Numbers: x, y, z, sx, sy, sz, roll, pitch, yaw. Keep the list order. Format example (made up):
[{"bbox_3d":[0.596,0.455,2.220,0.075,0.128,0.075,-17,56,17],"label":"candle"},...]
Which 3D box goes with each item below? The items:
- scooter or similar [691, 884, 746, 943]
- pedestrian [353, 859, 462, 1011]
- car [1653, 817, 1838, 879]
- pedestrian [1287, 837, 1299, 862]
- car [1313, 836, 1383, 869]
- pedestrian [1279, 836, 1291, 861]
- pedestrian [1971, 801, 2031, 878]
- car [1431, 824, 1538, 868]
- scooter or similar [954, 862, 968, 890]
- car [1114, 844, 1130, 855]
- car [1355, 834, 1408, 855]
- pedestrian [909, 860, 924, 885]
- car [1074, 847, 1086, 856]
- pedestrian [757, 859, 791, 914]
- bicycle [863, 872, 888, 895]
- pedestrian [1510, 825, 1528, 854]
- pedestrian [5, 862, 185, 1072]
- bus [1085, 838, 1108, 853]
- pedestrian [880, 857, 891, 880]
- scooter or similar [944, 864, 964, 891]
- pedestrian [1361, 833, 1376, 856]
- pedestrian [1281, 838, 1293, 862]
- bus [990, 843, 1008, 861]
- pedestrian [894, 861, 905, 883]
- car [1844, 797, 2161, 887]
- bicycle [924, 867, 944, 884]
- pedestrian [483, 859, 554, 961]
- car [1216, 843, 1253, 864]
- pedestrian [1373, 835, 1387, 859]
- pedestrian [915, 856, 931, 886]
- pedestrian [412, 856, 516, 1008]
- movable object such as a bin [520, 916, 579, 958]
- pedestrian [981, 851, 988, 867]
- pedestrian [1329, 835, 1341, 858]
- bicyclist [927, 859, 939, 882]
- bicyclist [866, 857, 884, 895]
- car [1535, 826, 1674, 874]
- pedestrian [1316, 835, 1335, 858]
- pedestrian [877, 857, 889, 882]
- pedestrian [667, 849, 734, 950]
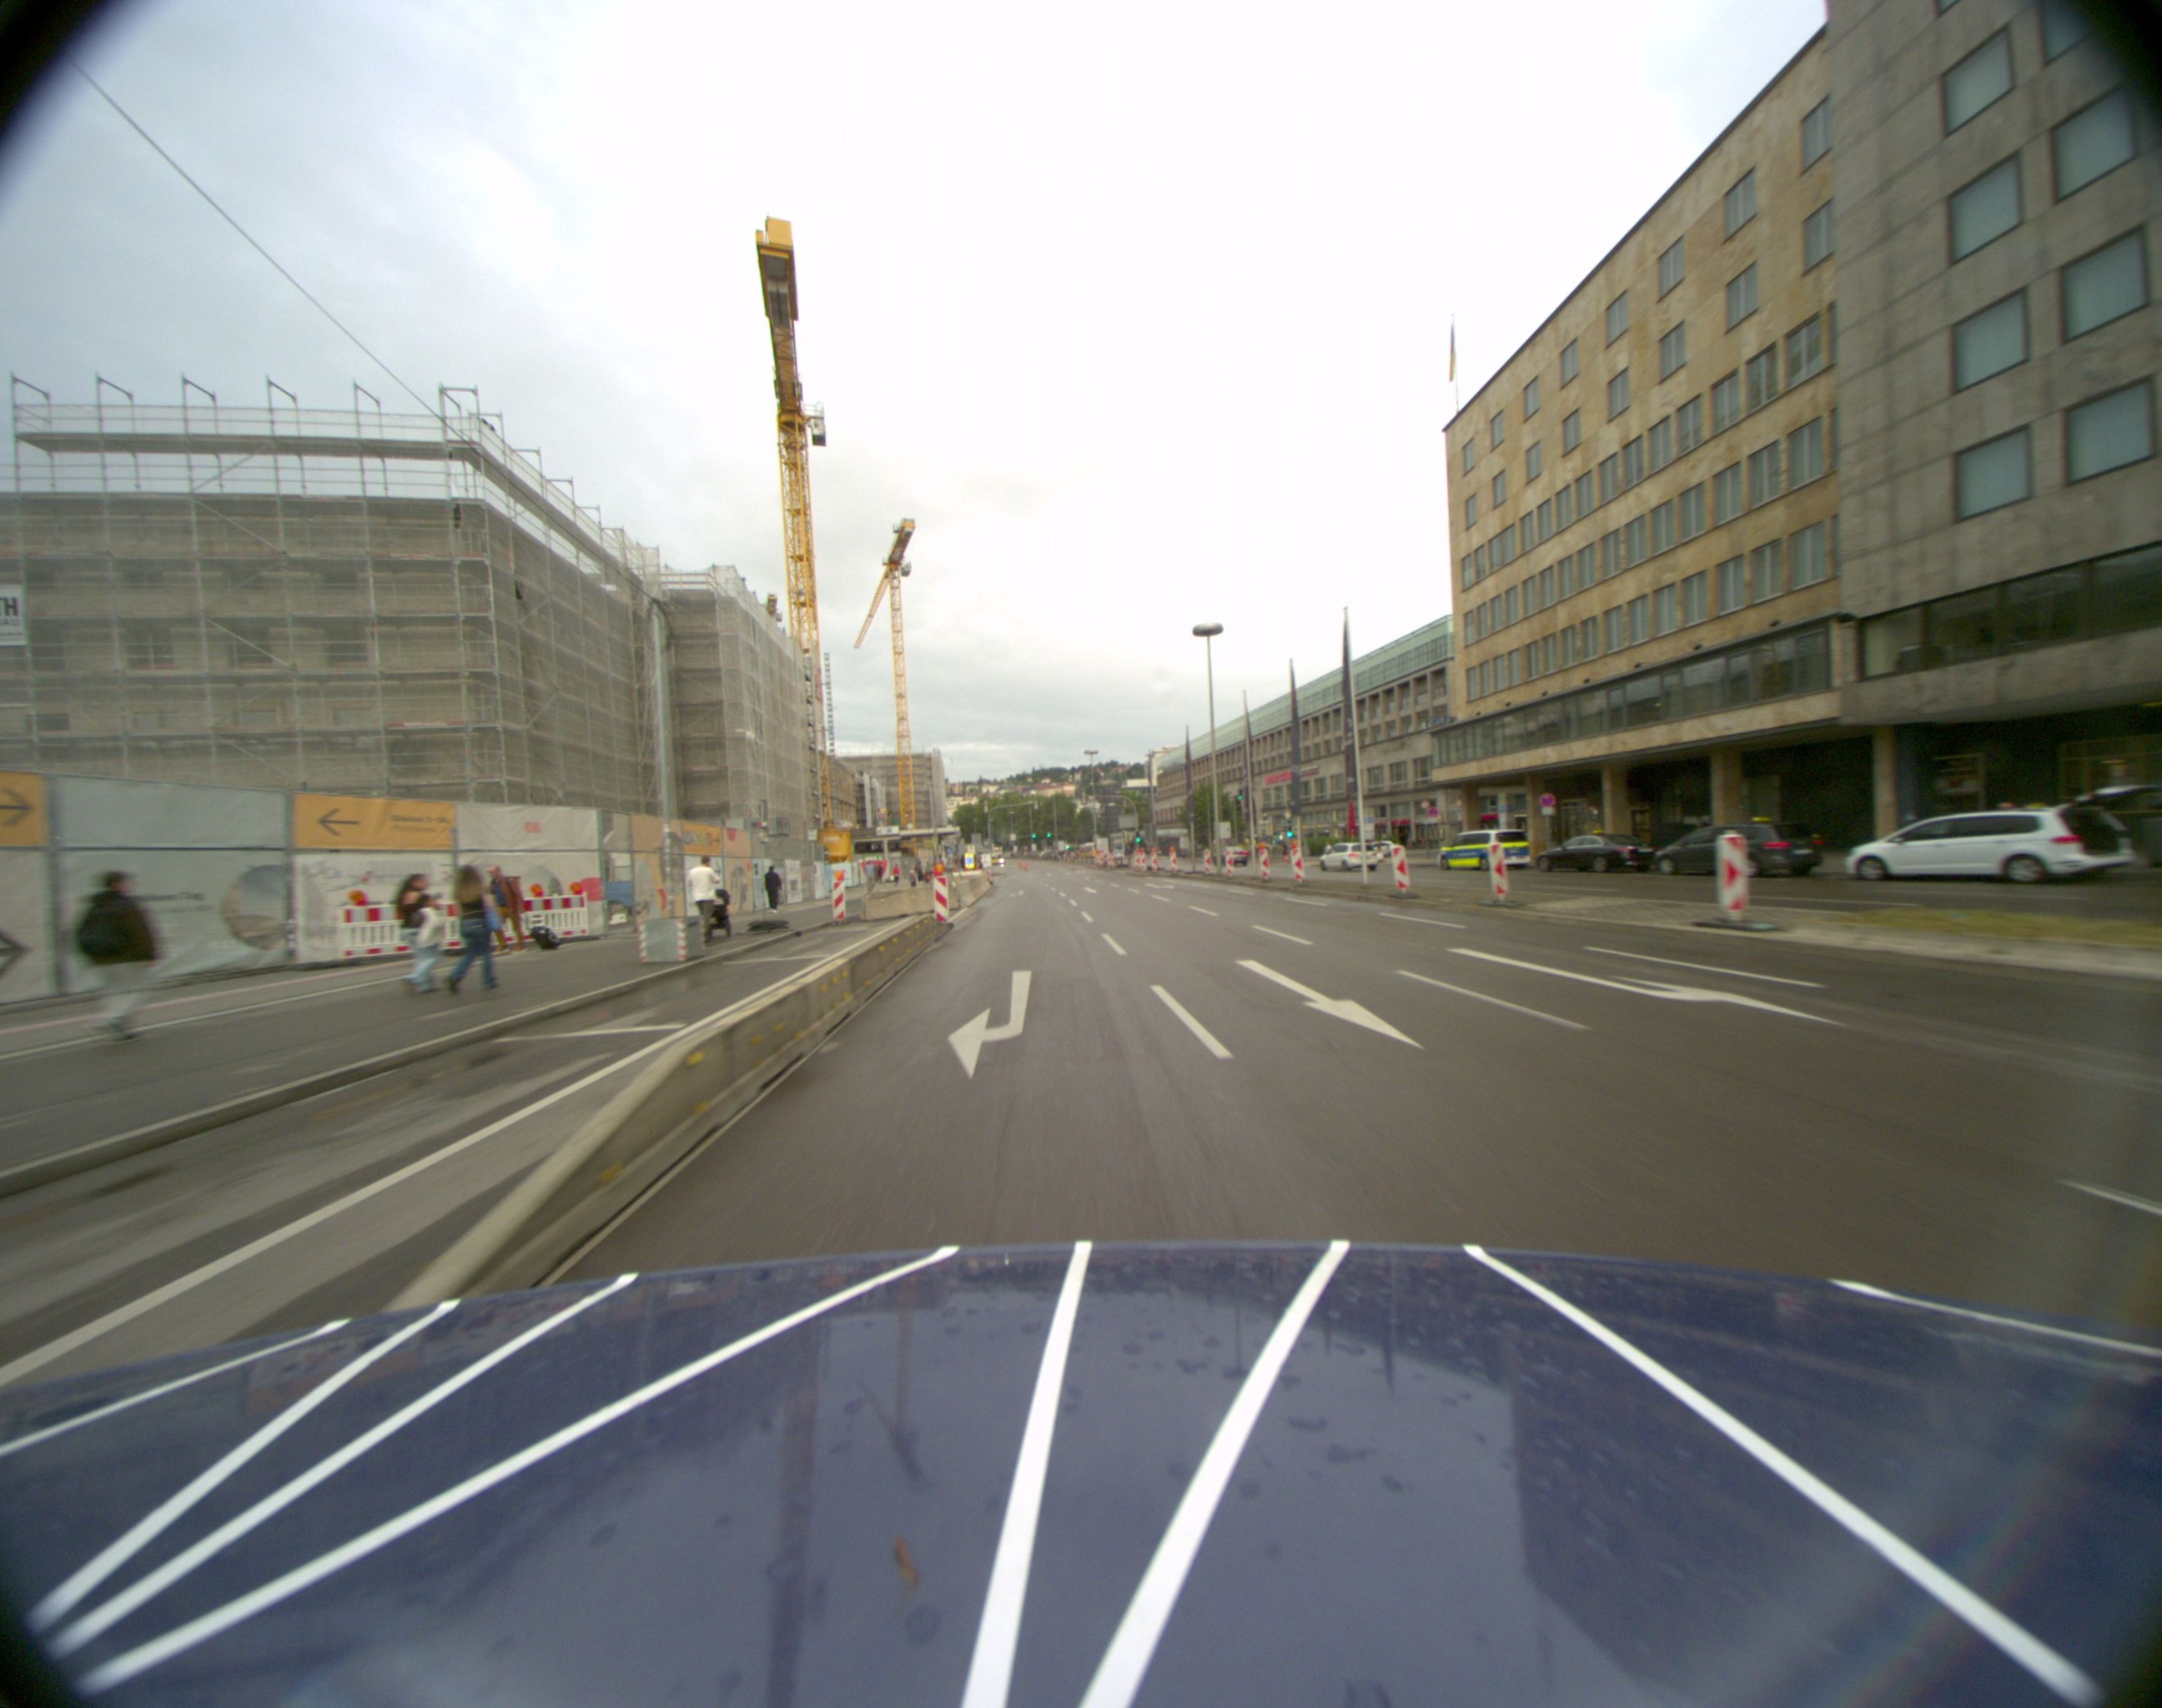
[{"bbox_3d":[-8.036,1.306,16.877,0.666,1.191,1.044,-3,1,-2],"label":"scooter or similar"},{"bbox_3d":[-8.755,1.022,9.907,0.685,1.878,0.693,-3,1,-1],"label":"pedestrian"},{"bbox_3d":[20.359,-0.169,23.569,1.759,1.671,4.226,-3,0,-6],"label":"car"},{"bbox_3d":[16.882,-0.373,60.457,0.591,1.914,0.751,-3,1,-7],"label":"pedestrian"},{"bbox_3d":[14.880,-0.061,42.574,1.829,1.659,4.497,-3,1,-7],"label":"car"},{"bbox_3d":[16.784,-0.444,62.514,0.705,2.002,0.807,-3,1,-7],"label":"pedestrian"},{"bbox_3d":[22.199,-0.343,18.338,0.623,1.771,0.657,-5,2,-6],"label":"pedestrian"},{"bbox_3d":[19.229,-0.323,36.538,1.906,1.917,5.072,-2,0,-7],"label":"car"},{"bbox_3d":[-5.981,1.088,37.791,0.526,1.326,1.024,-3,1,-14],"label":"scooter or similar"},{"bbox_3d":[6.435,-0.687,119.104,1.760,1.612,3.997,-3,1,-7],"label":"car"},{"bbox_3d":[27.177,-0.856,68.790,4.091,1.630,1.805,-3,1,-2],"label":"car"},{"bbox_3d":[-11.757,1.341,54.438,0.815,1.745,0.881,-3,1,-2],"label":"pedestrian"},{"bbox_3d":[-0.267,-0.559,160.905,1.887,1.674,3.996,-3,1,-9],"label":"car"},{"bbox_3d":[-10.929,1.138,27.065,0.851,1.884,0.662,-3,1,-2],"label":"pedestrian"},{"bbox_3d":[-10.968,1.560,40.580,0.768,1.105,1.980,-3,1,-2],"label":"bicycle"},{"bbox_3d":[29.232,-0.947,50.728,0.717,1.864,0.772,-3,1,-2],"label":"pedestrian"},{"bbox_3d":[-9.430,1.037,7.301,0.685,1.878,0.693,-3,1,-5],"label":"pedestrian"},{"bbox_3d":[3.111,-1.697,158.804,2.911,2.923,9.814,-3,1,-9],"label":"bus"},{"bbox_3d":[-17.043,1.242,66.244,0.629,2.002,0.577,-4,1,-39],"label":"pedestrian"},{"bbox_3d":[-6.574,1.206,39.425,0.492,1.326,1.026,-2,1,21],"label":"scooter or similar"},{"bbox_3d":[20.456,-0.661,53.996,0.667,1.582,0.679,-3,1,-28],"label":"pedestrian"},{"bbox_3d":[16.670,-0.348,61.499,0.715,1.914,0.592,-2,1,34],"label":"pedestrian"},{"bbox_3d":[-15.552,-0.358,143.673,3.001,3.120,7.758,-3,1,-9],"label":"bus"},{"bbox_3d":[-14.023,1.384,58.699,0.744,1.717,0.713,0,1,-18],"label":"pedestrian"},{"bbox_3d":[21.111,-0.272,17.629,1.760,1.748,4.707,-3,1,-7],"label":"car"},{"bbox_3d":[-10.992,1.591,56.847,0.755,1.127,1.993,-1,1,12],"label":"bicycle"},{"bbox_3d":[-10.890,1.061,14.736,0.769,1.884,0.654,-3,1,0],"label":"pedestrian"},{"bbox_3d":[12.804,-0.070,63.690,1.779,1.659,4.497,-2,0,-5],"label":"car"},{"bbox_3d":[20.959,-0.510,53.197,0.565,1.659,0.752,-3,1,-9],"label":"pedestrian"},{"bbox_3d":[-10.569,1.141,50.949,0.788,2.000,0.865,-2,1,3],"label":"pedestrian"},{"bbox_3d":[-8.039,0.989,9.937,0.685,1.878,0.693,-3,1,-1],"label":"pedestrian"},{"bbox_3d":[-10.624,1.657,15.213,0.598,0.730,0.777,-3,1,-2],"label":"movable object such as a bin"},{"bbox_3d":[-12.483,0.629,97.951,0.735,2.002,0.645,-3,1,-13],"label":"pedestrian"},{"bbox_3d":[18.381,-0.558,55.057,0.451,1.609,0.526,-6,2,-18],"label":"pedestrian"},{"bbox_3d":[-11.022,1.232,56.717,0.696,1.695,0.434,-3,1,11],"label":"bicyclist"},{"bbox_3d":[-10.964,1.163,40.412,0.728,2.002,0.599,-3,1,-2],"label":"bicyclist"},{"bbox_3d":[19.873,-0.165,29.112,1.760,1.612,4.561,-3,1,-7],"label":"car"},{"bbox_3d":[17.508,-0.538,54.482,0.840,1.609,0.788,-6,2,-17],"label":"pedestrian"},{"bbox_3d":[-16.771,1.308,64.300,0.640,2.002,0.628,-3,1,18],"label":"pedestrian"},{"bbox_3d":[-7.940,0.922,15.905,0.805,2.005,0.972,-3,1,-1],"label":"pedestrian"}]
